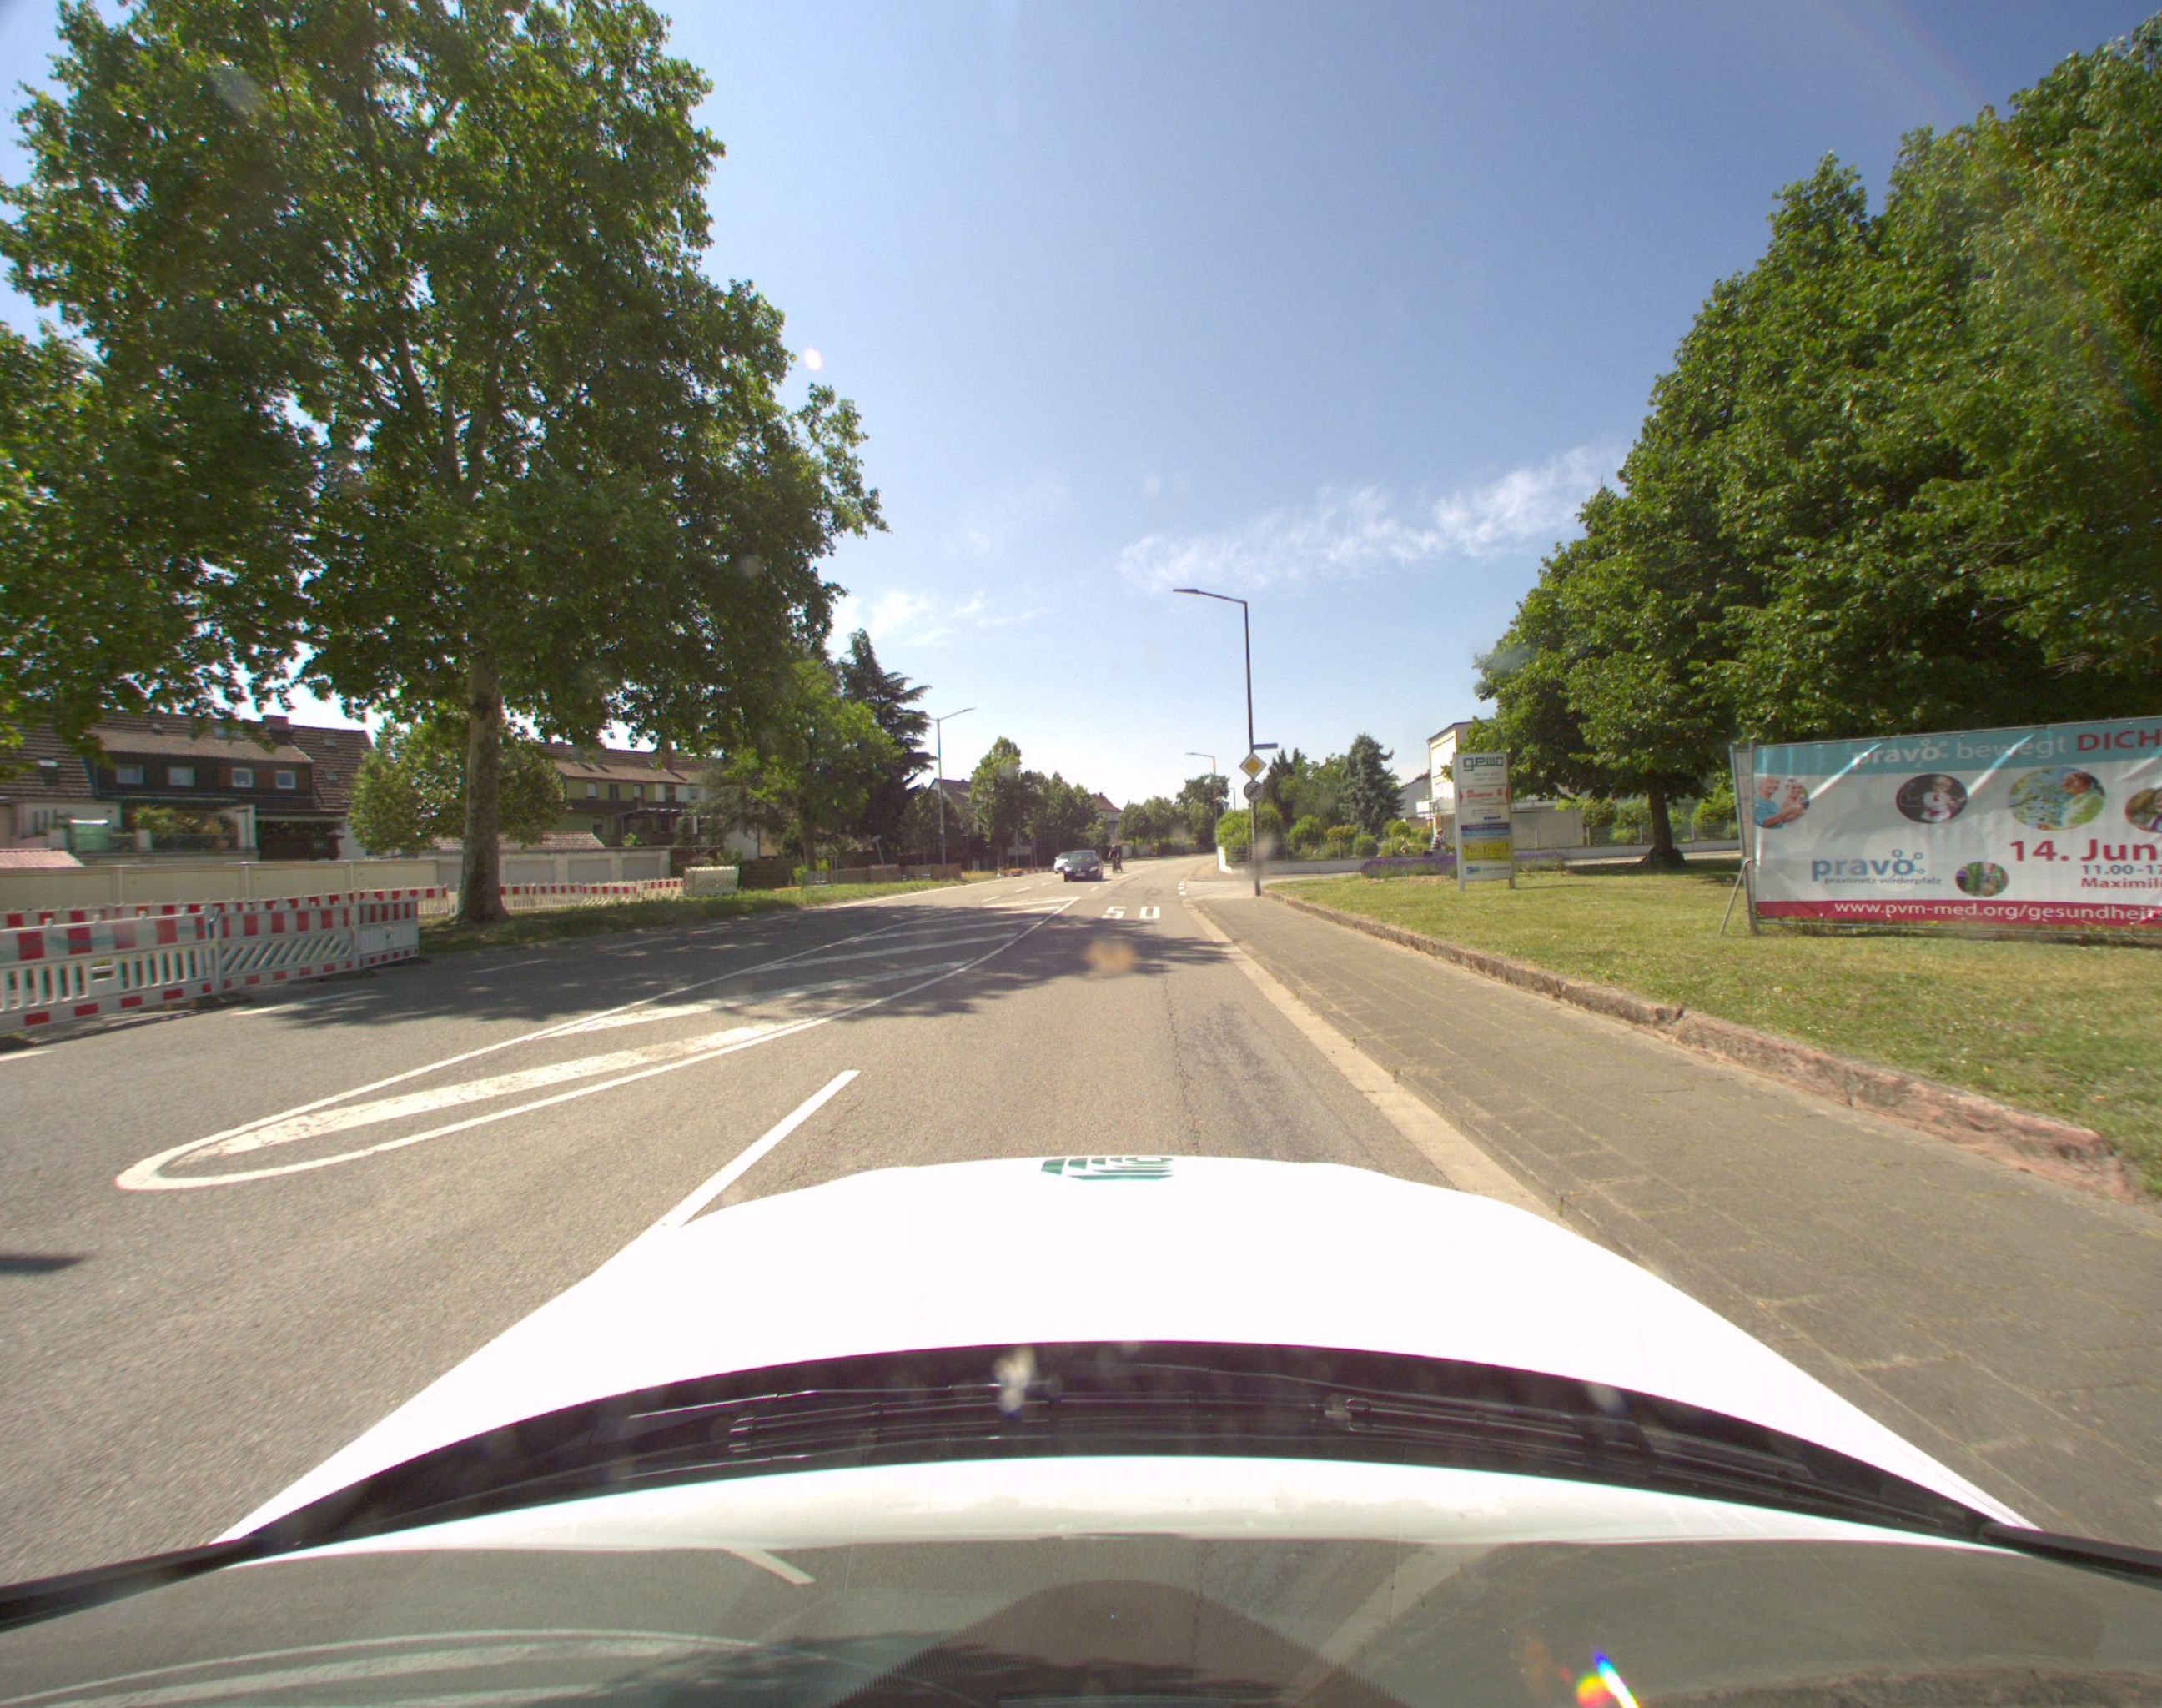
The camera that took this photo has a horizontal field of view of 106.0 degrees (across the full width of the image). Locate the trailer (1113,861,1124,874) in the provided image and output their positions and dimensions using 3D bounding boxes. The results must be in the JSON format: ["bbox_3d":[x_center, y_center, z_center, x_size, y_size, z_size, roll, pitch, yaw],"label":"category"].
[{"bbox_3d":[2.564,0.925,55.689,0.567,0.856,1.135,-3,0,8],"label":"trailer"}]

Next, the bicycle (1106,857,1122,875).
[{"bbox_3d":[2.213,0.786,54.159,0.845,1.166,1.981,-2,0,8],"label":"bicycle"}]

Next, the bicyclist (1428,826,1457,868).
[{"bbox_3d":[13.812,-0.260,31.119,0.917,1.530,0.861,-3,0,24],"label":"bicyclist"}]

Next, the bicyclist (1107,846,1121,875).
[{"bbox_3d":[2.197,0.411,54.118,0.841,1.865,0.978,-2,0,7],"label":"bicyclist"}]

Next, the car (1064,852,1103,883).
[{"bbox_3d":[0.168,0.679,42.508,1.717,1.532,3.835,-1,0,5],"label":"car"}]

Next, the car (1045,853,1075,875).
[{"bbox_3d":[-1.455,0.676,57.082,1.690,1.510,3.464,-1,0,5],"label":"car"}]

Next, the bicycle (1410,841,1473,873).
[{"bbox_3d":[13.782,0.127,31.160,2.120,1.103,0.820,-3,0,23],"label":"bicycle"}]
